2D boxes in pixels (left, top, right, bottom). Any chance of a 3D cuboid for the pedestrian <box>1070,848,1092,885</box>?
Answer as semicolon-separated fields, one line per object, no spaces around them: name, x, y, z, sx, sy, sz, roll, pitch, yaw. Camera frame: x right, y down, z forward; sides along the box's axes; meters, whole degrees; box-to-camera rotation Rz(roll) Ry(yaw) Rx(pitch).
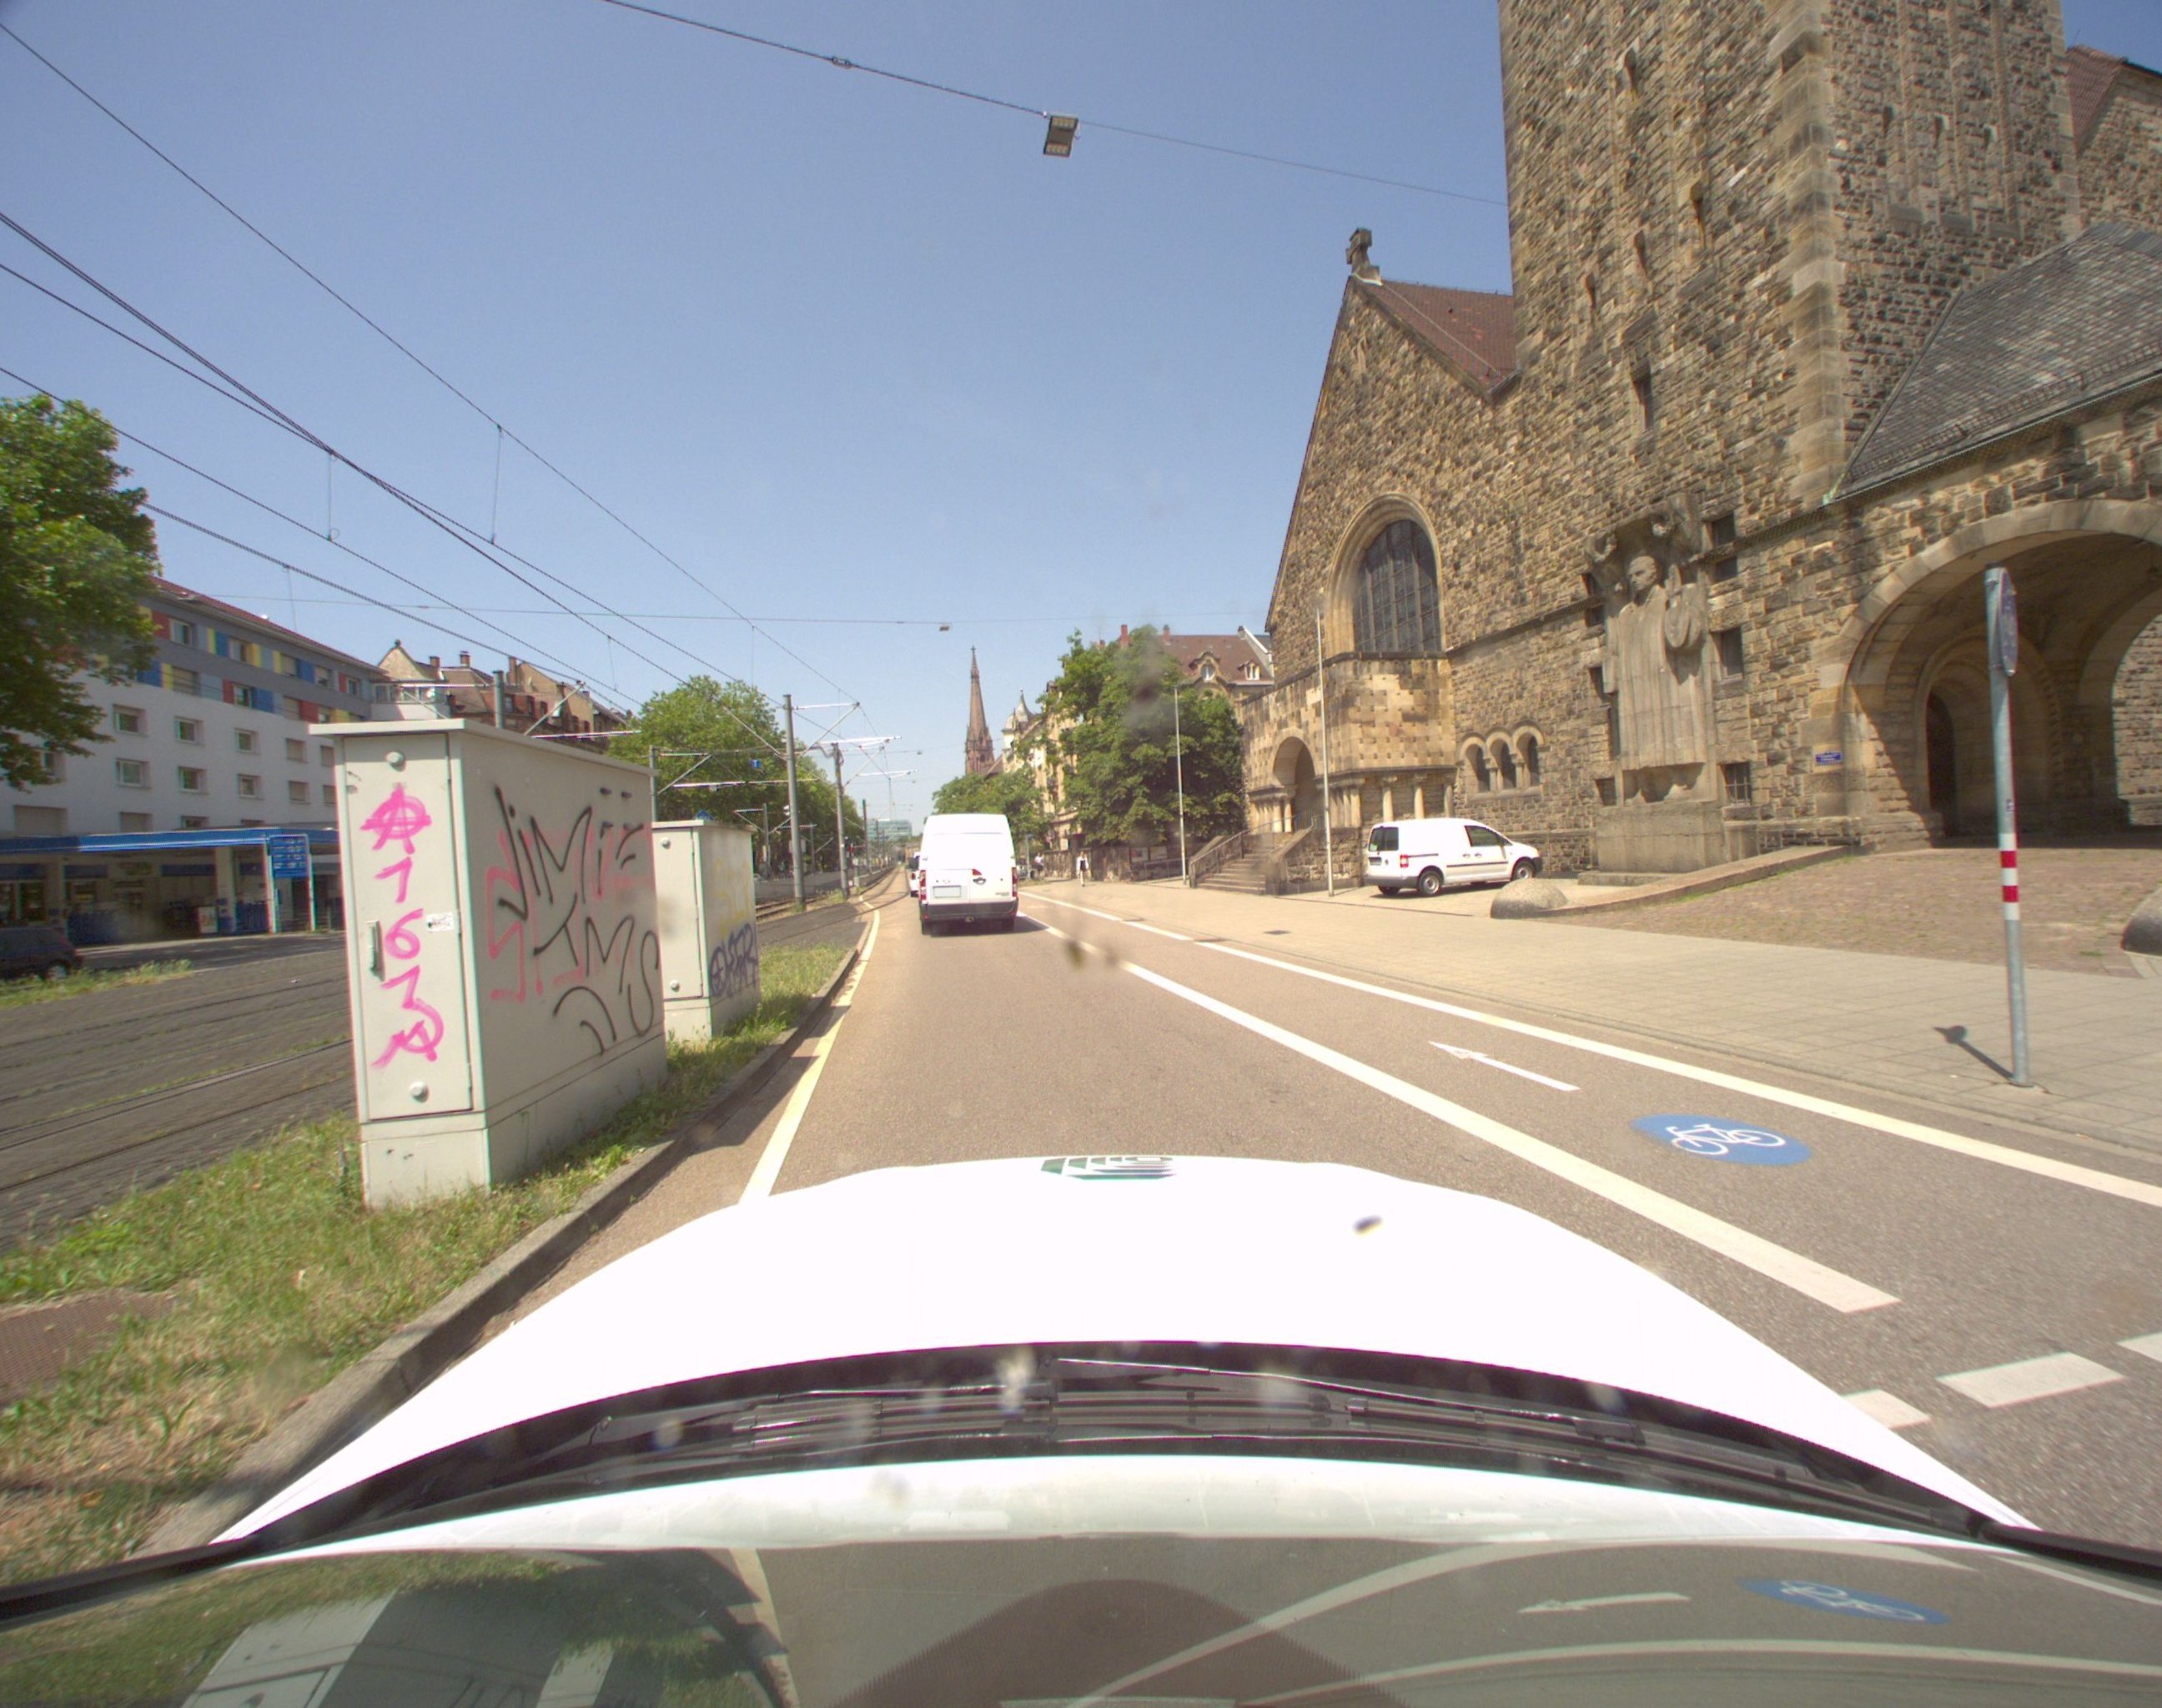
pedestrian;0.001;0.577;37.800;0.794;1.650;0.963;-3;0;-11

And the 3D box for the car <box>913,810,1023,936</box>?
car;-2.787;0.393;18.998;2.119;2.459;5.033;-3;0;-12

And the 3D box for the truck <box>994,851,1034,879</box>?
truck;-4.145;0.676;49.624;1.791;1.526;4.447;-4;0;-12

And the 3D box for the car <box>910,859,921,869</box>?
car;-27.769;1.688;136.626;1.752;1.539;3.742;-3;0;-13

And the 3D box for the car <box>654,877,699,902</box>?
car;-31.493;2.724;63.562;1.848;1.625;4.584;-5;0;-11

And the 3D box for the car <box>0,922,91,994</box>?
car;-24.151;2.391;17.492;1.598;1.420;3.765;-5;1;-13

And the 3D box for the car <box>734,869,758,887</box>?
car;-38.214;2.681;92.976;1.998;1.904;4.692;-3;0;-16

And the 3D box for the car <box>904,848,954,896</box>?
car;-6.902;0.794;36.743;1.919;1.944;4.244;-3;0;-14

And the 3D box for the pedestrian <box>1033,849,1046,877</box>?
pedestrian;-2.626;0.576;51.662;0.621;1.754;0.676;-3;0;-11

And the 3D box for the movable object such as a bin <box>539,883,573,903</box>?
movable object such as a bin;-41.290;3.060;64.060;1.785;1.385;1.462;-4;0;-15

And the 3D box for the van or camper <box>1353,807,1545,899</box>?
van or camper;9.029;-0.064;20.065;3.993;1.825;1.794;-5;2;-14
